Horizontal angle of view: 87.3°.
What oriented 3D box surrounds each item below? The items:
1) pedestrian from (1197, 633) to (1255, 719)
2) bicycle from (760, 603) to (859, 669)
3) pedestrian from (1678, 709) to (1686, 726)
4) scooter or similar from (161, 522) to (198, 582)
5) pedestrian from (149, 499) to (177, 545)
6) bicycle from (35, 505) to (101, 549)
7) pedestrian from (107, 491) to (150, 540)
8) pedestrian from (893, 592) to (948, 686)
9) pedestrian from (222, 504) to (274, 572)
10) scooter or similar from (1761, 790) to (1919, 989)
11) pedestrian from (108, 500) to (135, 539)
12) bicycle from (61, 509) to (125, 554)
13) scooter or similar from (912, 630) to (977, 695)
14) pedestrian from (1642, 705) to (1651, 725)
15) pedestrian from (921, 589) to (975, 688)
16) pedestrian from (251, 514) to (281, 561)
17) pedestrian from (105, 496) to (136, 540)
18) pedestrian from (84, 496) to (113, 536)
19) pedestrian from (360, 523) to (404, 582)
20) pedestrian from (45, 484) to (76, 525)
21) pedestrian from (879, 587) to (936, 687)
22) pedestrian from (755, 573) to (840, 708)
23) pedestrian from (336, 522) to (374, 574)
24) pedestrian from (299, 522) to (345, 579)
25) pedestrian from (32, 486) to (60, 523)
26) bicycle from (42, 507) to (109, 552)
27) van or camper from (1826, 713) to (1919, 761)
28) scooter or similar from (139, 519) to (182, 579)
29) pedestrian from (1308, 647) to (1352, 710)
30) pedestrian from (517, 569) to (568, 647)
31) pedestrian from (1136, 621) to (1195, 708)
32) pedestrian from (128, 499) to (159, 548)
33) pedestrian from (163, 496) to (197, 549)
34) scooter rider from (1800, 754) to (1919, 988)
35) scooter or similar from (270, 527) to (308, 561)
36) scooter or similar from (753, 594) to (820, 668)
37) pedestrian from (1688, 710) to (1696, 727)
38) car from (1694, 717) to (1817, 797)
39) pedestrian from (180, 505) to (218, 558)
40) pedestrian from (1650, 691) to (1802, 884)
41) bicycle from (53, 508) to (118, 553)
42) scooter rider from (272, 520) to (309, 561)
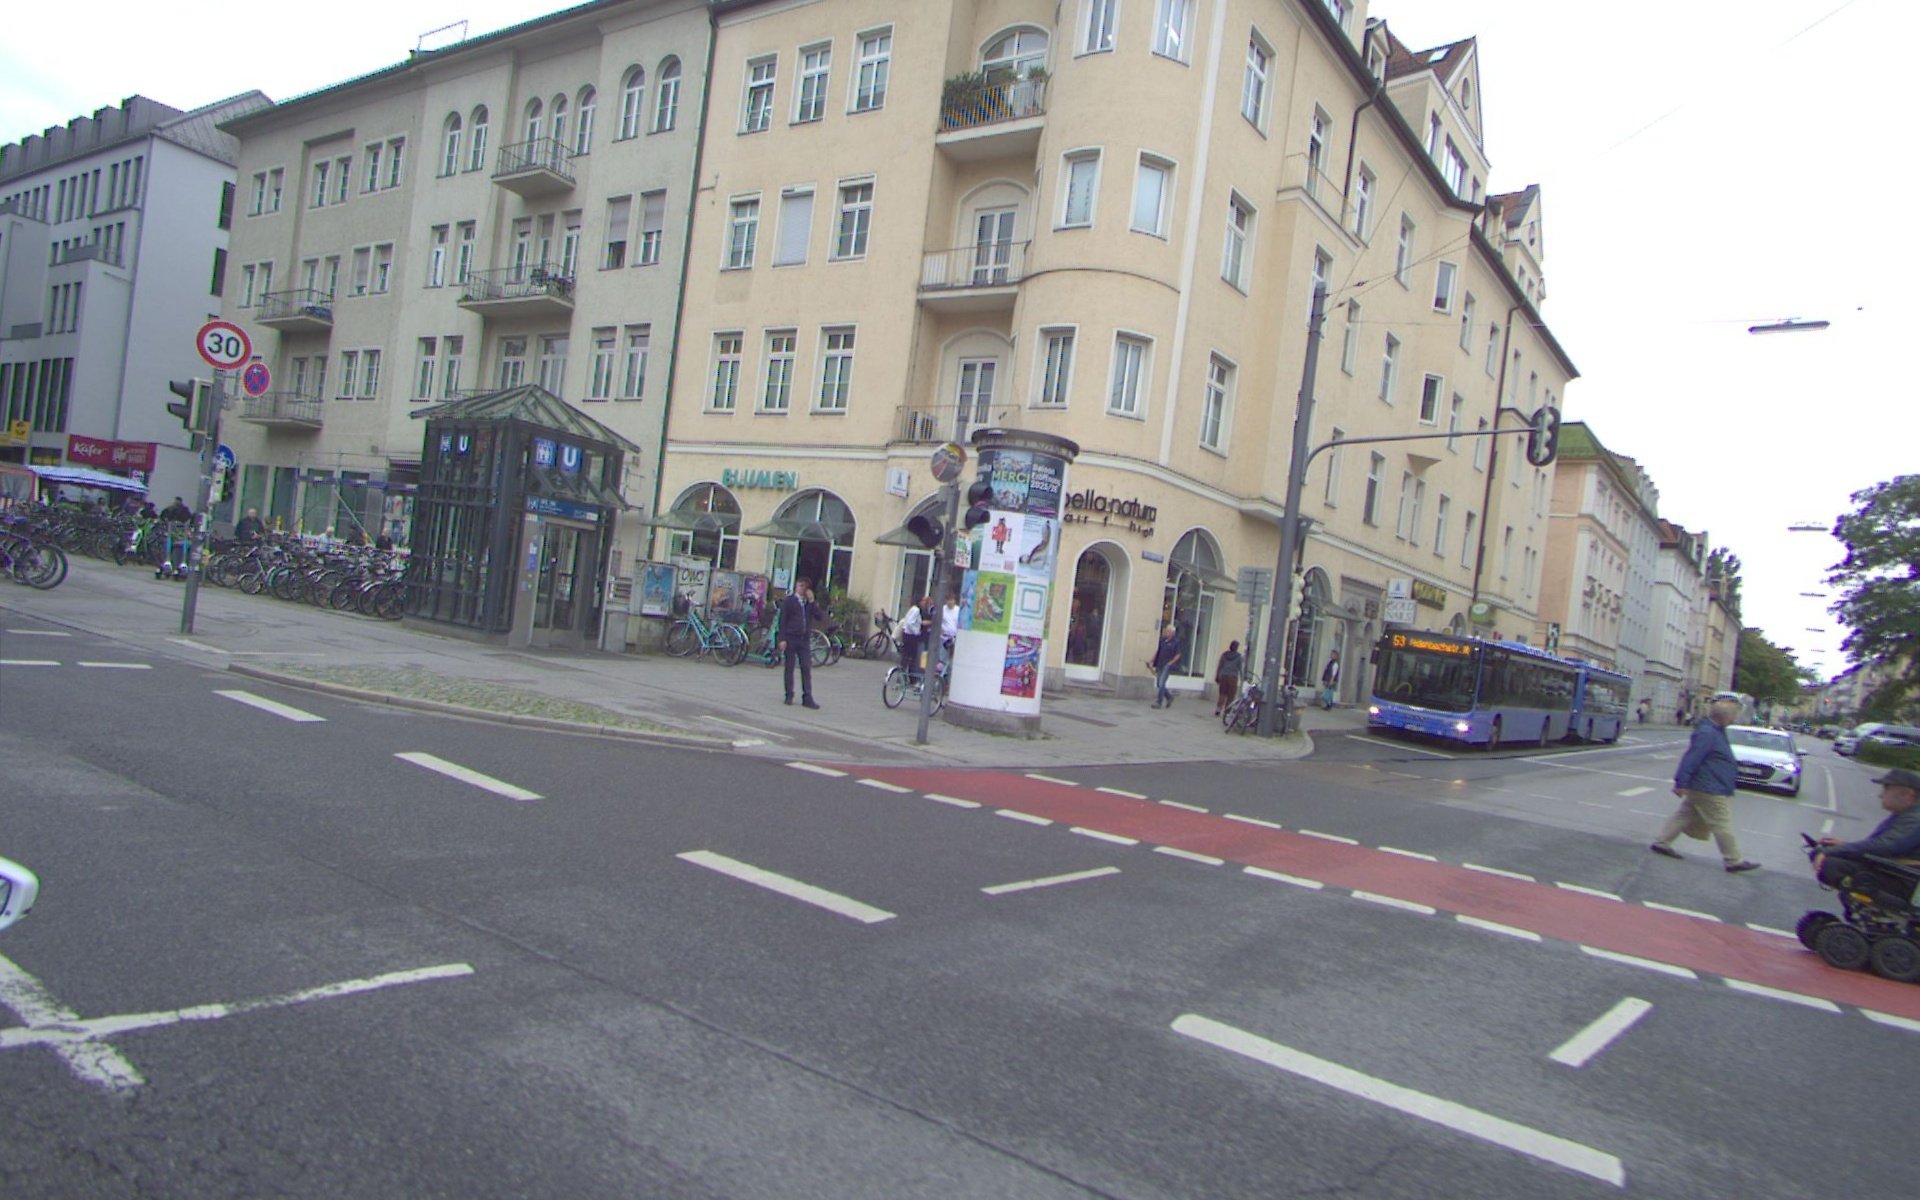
[{"bbox_3d":[5.729,1.635,21.673,0.736,1.707,0.679,12,4,41],"label":"pedestrian"},{"bbox_3d":[-3.019,0.710,20.178,1.831,1.072,0.496,7,1,16],"label":"bicycle"},{"bbox_3d":[67.976,11.026,94.694,0.404,1.529,0.448,8,1,39],"label":"pedestrian"},{"bbox_3d":[-16.388,-1.020,21.145,0.298,1.190,1.268,7,1,-28],"label":"scooter or similar"},{"bbox_3d":[-27.307,-2.677,34.466,0.501,1.502,0.462,7,1,-23],"label":"pedestrian"},{"bbox_3d":[-23.462,-1.907,26.464,0.363,0.975,1.183,8,0,30],"label":"bicycle"},{"bbox_3d":[-28.283,-2.865,34.233,0.801,1.541,0.795,7,1,-25],"label":"pedestrian"},{"bbox_3d":[-0.735,0.732,18.780,0.560,1.630,0.559,12,4,44],"label":"pedestrian"},{"bbox_3d":[-19.669,-1.712,27.798,0.746,1.750,0.813,8,2,32],"label":"pedestrian"},{"bbox_3d":[6.417,2.005,6.891,1.235,1.088,0.777,7,0,30],"label":"scooter or similar"},{"bbox_3d":[-33.384,-3.213,40.063,0.570,1.420,0.575,7,1,31],"label":"pedestrian"},{"bbox_3d":[-22.092,-1.735,25.644,0.363,0.975,1.133,8,1,37],"label":"bicycle"},{"bbox_3d":[-0.276,1.107,17.810,0.815,1.007,0.587,8,3,-36],"label":"scooter or similar"},{"bbox_3d":[49.334,8.271,72.291,0.404,1.375,0.448,8,1,39],"label":"pedestrian"},{"bbox_3d":[-0.219,0.715,19.074,0.720,1.727,0.645,10,3,2],"label":"pedestrian"},{"bbox_3d":[-26.495,-2.388,38.401,0.553,1.665,0.641,8,1,31],"label":"pedestrian"},{"bbox_3d":[-29.703,-2.906,35.601,0.648,1.443,0.616,8,1,37],"label":"pedestrian"},{"bbox_3d":[-33.776,-3.295,39.457,0.570,1.420,0.599,7,1,31],"label":"pedestrian"},{"bbox_3d":[-17.586,-1.441,30.608,0.745,1.672,0.751,8,2,30],"label":"pedestrian"},{"bbox_3d":[-39.142,-4.159,43.774,0.729,1.622,0.733,8,1,31],"label":"pedestrian"},{"bbox_3d":[-0.957,0.672,18.152,0.562,1.692,0.556,7,4,-36],"label":"pedestrian"},{"bbox_3d":[-2.243,0.537,13.811,0.825,1.712,0.815,7,1,-21],"label":"pedestrian"},{"bbox_3d":[-19.885,-1.719,33.053,0.774,1.588,0.649,8,1,32],"label":"pedestrian"},{"bbox_3d":[-18.818,-1.453,29.689,0.745,1.537,0.778,8,2,30],"label":"pedestrian"},{"bbox_3d":[-37.894,-3.962,41.706,0.570,1.420,0.599,7,1,31],"label":"pedestrian"},{"bbox_3d":[-23.011,-1.831,26.187,0.363,0.975,1.181,8,0,35],"label":"bicycle"},{"bbox_3d":[60.269,9.000,65.021,6.019,2.305,2.001,7,0,15],"label":"van or camper"},{"bbox_3d":[-16.802,-1.082,21.161,0.360,1.190,1.337,7,1,-28],"label":"scooter or similar"},{"bbox_3d":[10.858,2.302,29.533,0.736,1.707,0.723,12,4,41],"label":"pedestrian"},{"bbox_3d":[-9.631,0.193,23.206,0.710,1.692,0.657,8,2,33],"label":"pedestrian"},{"bbox_3d":[4.408,1.384,21.608,0.736,1.727,0.679,12,4,43],"label":"pedestrian"},{"bbox_3d":[-27.298,-2.548,33.640,0.574,1.523,0.612,7,1,-27],"label":"pedestrian"},{"bbox_3d":[-26.418,-2.604,34.078,0.594,1.690,0.682,7,1,-23],"label":"pedestrian"},{"bbox_3d":[6.361,1.833,6.915,0.632,1.406,0.702,7,1,30],"label":"scooter rider"},{"bbox_3d":[-22.085,-1.849,33.096,1.106,0.956,0.535,8,2,30],"label":"scooter or similar"},{"bbox_3d":[-3.260,0.578,18.901,1.133,1.242,0.288,7,1,23],"label":"scooter or similar"},{"bbox_3d":[68.477,11.077,94.121,0.404,1.529,0.448,8,1,39],"label":"pedestrian"},{"bbox_3d":[19.089,3.705,24.089,1.869,1.439,3.979,7,0,43],"label":"car"},{"bbox_3d":[-27.031,-2.436,35.733,0.746,1.750,0.743,8,2,31],"label":"pedestrian"},{"bbox_3d":[8.113,1.936,10.729,1.048,1.777,0.934,8,1,35],"label":"pedestrian"},{"bbox_3d":[-22.465,-1.783,25.857,0.363,0.975,1.133,8,1,37],"label":"bicycle"},{"bbox_3d":[-22.008,-1.960,33.065,0.707,1.235,0.686,8,2,30],"label":"scooter rider"}]
